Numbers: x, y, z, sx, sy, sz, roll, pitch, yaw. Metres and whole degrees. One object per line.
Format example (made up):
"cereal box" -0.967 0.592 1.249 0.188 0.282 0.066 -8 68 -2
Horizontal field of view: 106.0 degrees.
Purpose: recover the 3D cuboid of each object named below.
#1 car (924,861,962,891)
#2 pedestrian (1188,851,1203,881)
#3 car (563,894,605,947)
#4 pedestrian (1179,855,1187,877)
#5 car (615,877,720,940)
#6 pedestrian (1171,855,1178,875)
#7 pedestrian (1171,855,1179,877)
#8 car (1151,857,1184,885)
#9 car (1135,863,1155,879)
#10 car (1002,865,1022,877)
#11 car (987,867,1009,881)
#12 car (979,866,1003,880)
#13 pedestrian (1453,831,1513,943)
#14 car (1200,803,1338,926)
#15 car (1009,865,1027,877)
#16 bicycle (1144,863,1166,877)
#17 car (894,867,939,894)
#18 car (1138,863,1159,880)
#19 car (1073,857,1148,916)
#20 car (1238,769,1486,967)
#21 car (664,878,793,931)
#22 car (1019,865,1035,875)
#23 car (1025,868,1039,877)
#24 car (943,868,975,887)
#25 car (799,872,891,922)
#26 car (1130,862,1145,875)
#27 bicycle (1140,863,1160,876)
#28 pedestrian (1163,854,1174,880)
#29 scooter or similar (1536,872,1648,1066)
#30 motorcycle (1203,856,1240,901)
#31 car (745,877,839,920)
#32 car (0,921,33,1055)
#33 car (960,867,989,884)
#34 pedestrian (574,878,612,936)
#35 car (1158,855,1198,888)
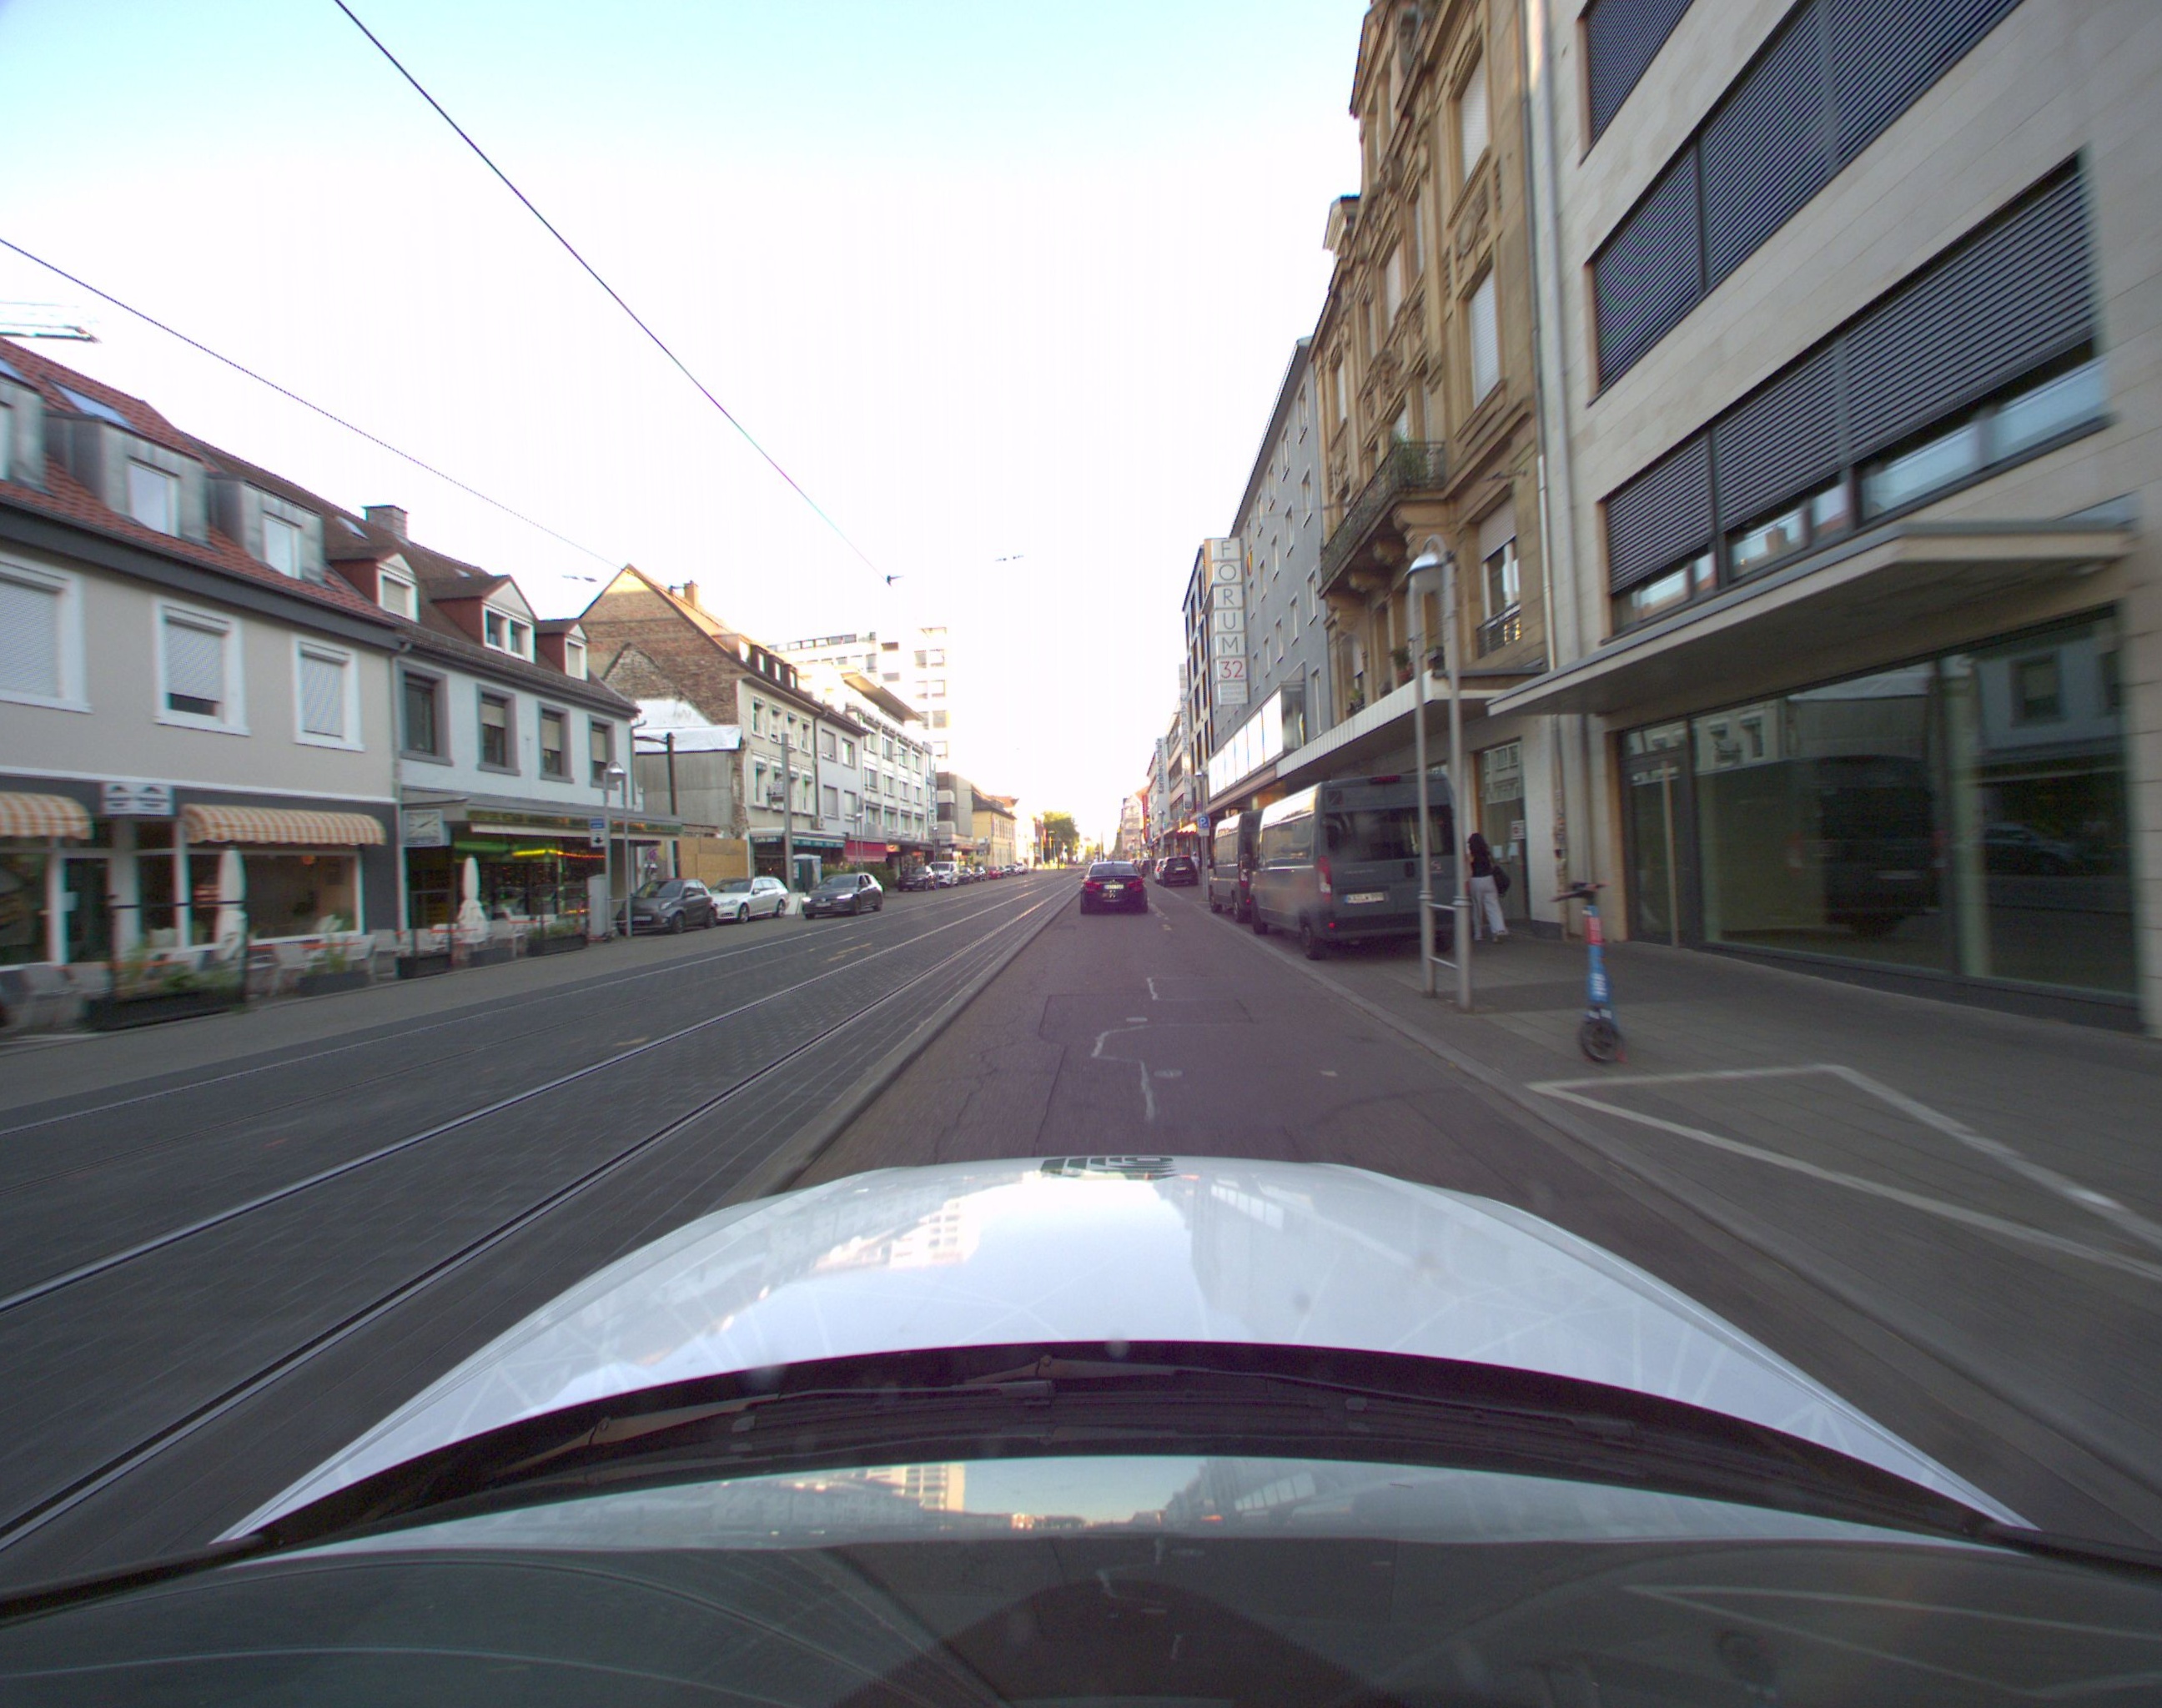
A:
"car" -10.530 1.645 62.469 1.988 2.156 4.908 -3 -1 -1
"pedestrian" 6.852 0.734 48.810 0.686 1.740 0.821 -4 -1 3
"car" -12.220 1.632 20.020 0.781 1.234 0.339 -3 -1 0
"pedestrian" 8.547 0.963 67.954 0.506 1.792 0.760 -3 -1 2
"car" -11.728 1.494 23.259 1.472 1.577 2.794 -3 -1 0
"pedestrian" 8.096 0.919 70.334 0.473 1.699 0.753 -3 -1 6
"pedestrian" 7.869 1.011 68.030 0.552 1.791 0.760 -3 -1 2
"car" 5.027 0.977 47.604 1.553 1.442 3.710 -5 -1 2
"car" 6.851 1.839 87.427 1.895 1.549 3.782 -2 -2 2
"car" -8.878 2.197 105.039 1.921 1.435 4.248 -3 -1 2
"car" -9.303 2.208 91.506 1.921 1.435 4.248 -1 -1 2
"car" -9.544 2.003 86.525 1.921 1.435 4.248 -1 -1 2
"pedestrian" 6.144 0.496 12.460 0.548 1.644 0.533 -4 -1 2
"car" 4.383 0.249 19.987 2.026 2.455 5.409 -4 -1 1
"car" -8.542 2.305 111.406 1.921 1.435 4.248 -1 -1 2
"bicycle" 6.502 1.400 71.435 1.853 1.080 0.469 -2 -2 3
"car" -10.947 1.726 54.498 1.852 1.678 4.467 -1 -1 2
"car" 6.637 1.746 80.583 1.895 1.549 4.002 -2 -1 2
"car" 0.939 0.909 24.043 1.945 1.498 4.469 -2 -1 4
"car" 4.231 0.208 13.600 2.085 2.455 6.034 -4 -1 2
"car" -11.777 1.622 27.603 1.985 1.453 4.826 -3 -1 3
"car" -8.313 2.482 125.267 1.921 1.435 4.248 -1 -1 2
"car" -8.101 3.048 134.373 1.921 1.435 4.248 -1 -1 2
"car" -10.396 1.982 69.882 1.921 1.435 4.248 -1 -1 2
"car" -8.209 1.442 28.785 1.685 1.453 4.468 -4 -1 3
"car" 7.109 1.867 102.205 1.767 1.549 3.504 -2 -1 2
"bicycle" 6.511 1.491 77.234 1.853 1.119 0.469 -2 -2 3
"pedestrian" 5.689 0.854 53.125 0.555 1.647 0.759 -3 -1 -2
"scooter or similar" 3.785 0.775 5.997 0.493 1.220 1.273 -3 -1 39
"motorcycle" 4.796 0.824 27.895 0.841 1.419 2.166 -5 -1 2
"car" -11.518 1.722 32.830 1.985 1.453 4.333 -3 -1 3
"car" -12.622 1.464 7.230 1.592 1.440 3.815 -1 0 3
"car" -9.996 2.012 76.673 1.921 1.435 4.248 -1 -1 2
"pedestrian" -14.319 1.541 23.910 0.660 1.644 0.695 -2 -1 2
"car" 5.025 0.866 42.456 1.648 1.537 3.887 -4 -1 2
